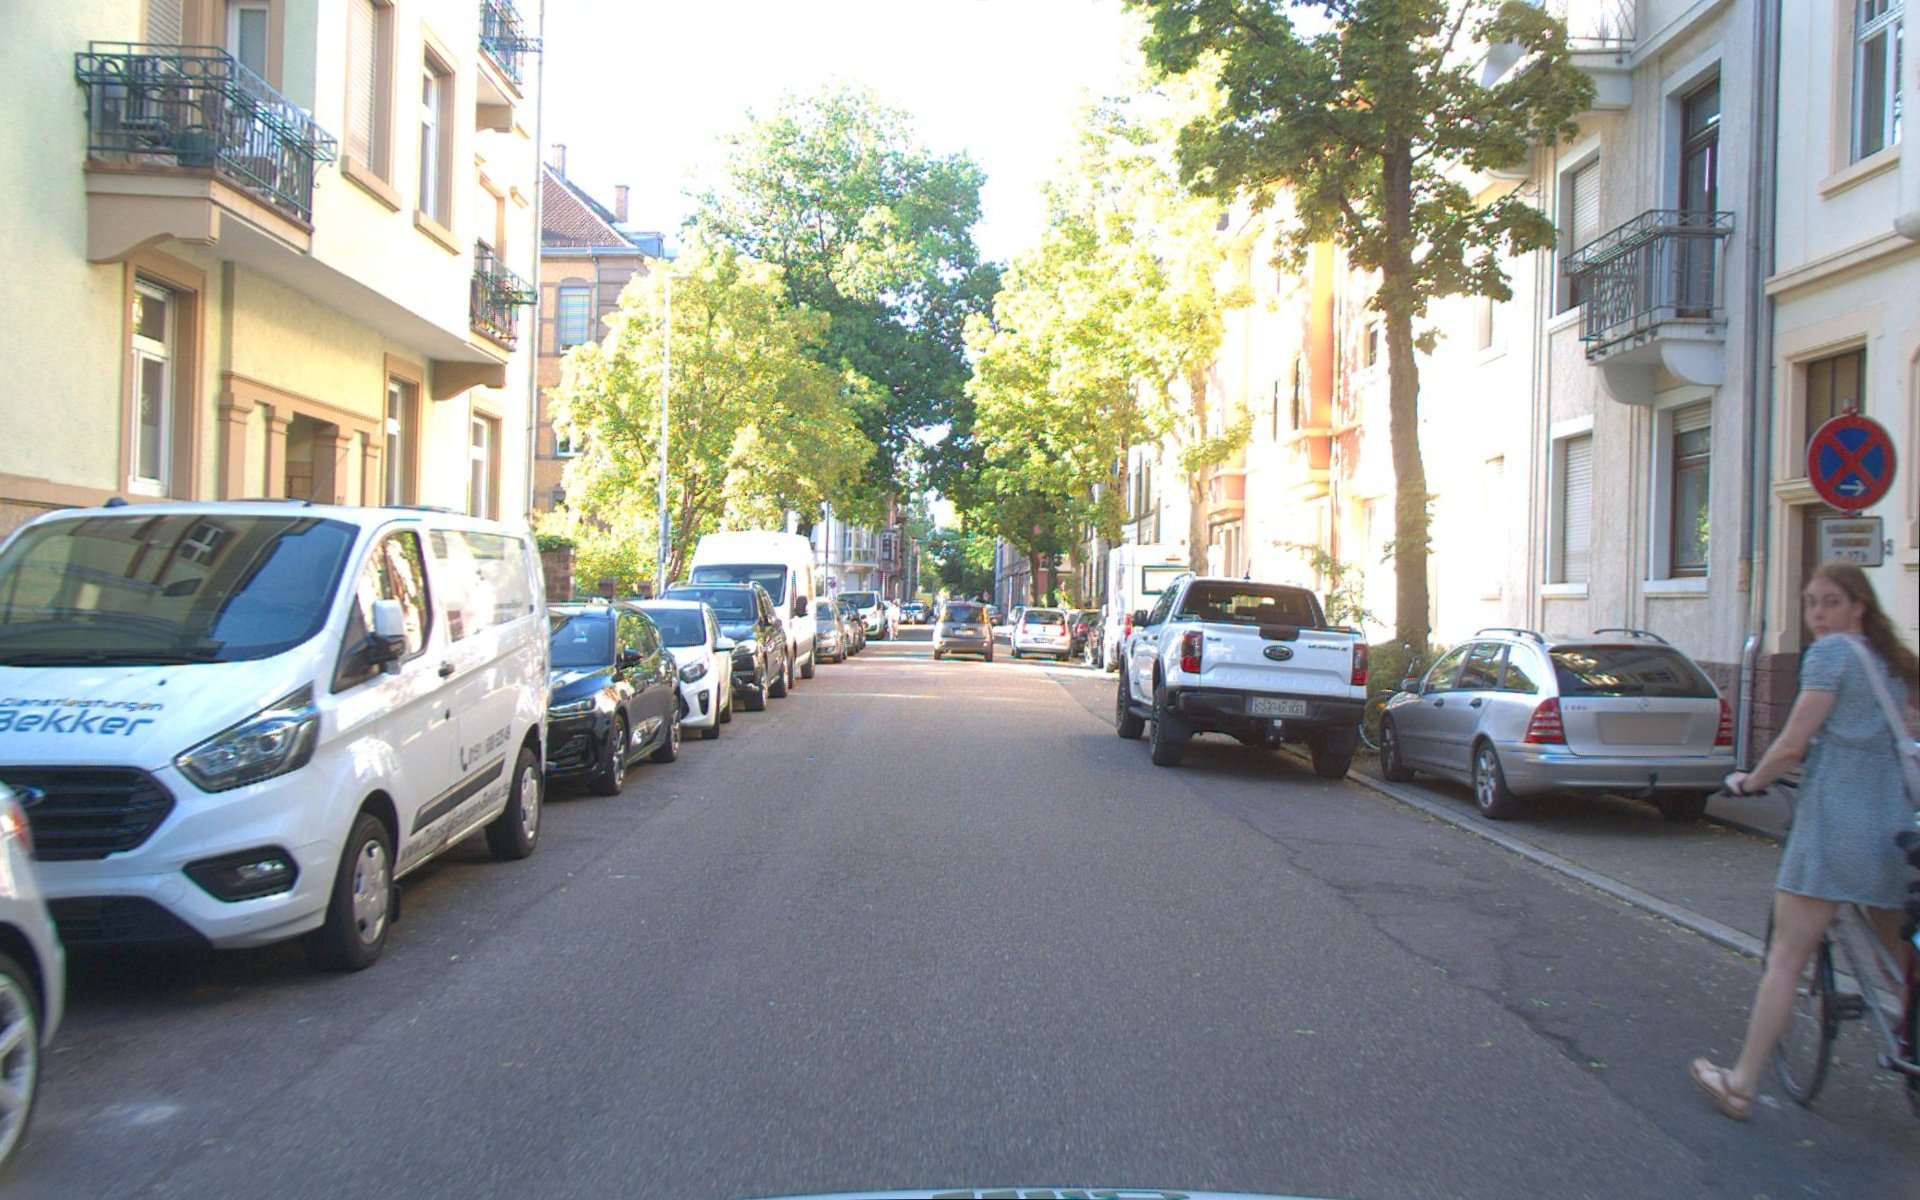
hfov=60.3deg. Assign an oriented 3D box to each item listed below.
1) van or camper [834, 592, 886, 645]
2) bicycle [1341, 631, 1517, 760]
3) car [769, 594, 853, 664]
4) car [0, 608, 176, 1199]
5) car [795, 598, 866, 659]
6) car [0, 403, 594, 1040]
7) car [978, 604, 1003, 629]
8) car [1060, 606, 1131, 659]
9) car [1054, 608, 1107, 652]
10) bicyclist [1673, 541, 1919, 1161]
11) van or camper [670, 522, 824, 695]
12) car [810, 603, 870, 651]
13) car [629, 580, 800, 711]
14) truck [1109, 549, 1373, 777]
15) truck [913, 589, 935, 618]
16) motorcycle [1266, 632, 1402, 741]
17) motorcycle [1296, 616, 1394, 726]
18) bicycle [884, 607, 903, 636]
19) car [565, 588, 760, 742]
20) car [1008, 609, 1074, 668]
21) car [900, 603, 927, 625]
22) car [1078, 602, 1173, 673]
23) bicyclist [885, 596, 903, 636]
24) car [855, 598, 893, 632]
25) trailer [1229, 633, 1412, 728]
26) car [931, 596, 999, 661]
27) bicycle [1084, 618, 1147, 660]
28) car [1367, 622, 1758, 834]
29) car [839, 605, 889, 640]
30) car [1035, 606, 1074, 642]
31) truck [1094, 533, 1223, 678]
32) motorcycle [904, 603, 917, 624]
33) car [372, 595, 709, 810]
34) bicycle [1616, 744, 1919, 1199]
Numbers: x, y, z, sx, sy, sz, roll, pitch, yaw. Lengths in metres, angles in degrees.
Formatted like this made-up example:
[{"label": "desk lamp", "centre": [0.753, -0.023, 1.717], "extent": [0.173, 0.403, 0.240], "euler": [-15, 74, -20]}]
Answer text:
[{"label": "van or camper", "centre": [-4.062, 0.740, 67.892], "extent": [1.883, 2.014, 5.460], "euler": [-2, 0, -2]}, {"label": "bicycle", "centre": [5.077, 1.030, 17.958], "extent": [1.723, 1.328, 0.586], "euler": [2, 0, -2]}, {"label": "car", "centre": [-3.625, 0.686, 40.864], "extent": [1.744, 1.618, 4.468], "euler": [-1, 0, -1]}, {"label": "car", "centre": [-3.194, 0.777, 2.738], "extent": [1.796, 1.488, 4.361], "euler": [-1, 0, -2]}, {"label": "car", "centre": [-3.638, 0.772, 47.068], "extent": [1.642, 1.600, 4.151], "euler": [-1, 0, 0]}, {"label": "car", "centre": [-3.449, 0.436, 8.374], "extent": [2.206, 2.206, 5.241], "euler": [-1, 0, -3]}, {"label": "car", "centre": [2.164, 1.148, 117.965], "extent": [1.629, 1.698, 3.757], "euler": [3, 0, 0]}, {"label": "car", "centre": [4.278, 1.005, 52.663], "extent": [1.750, 1.540, 4.458], "euler": [2, 0, -1]}, {"label": "car", "centre": [4.258, 1.045, 58.885], "extent": [1.564, 1.514, 3.747], "euler": [1, 0, 0]}, {"label": "bicyclist", "centre": [2.829, 0.719, 5.121], "extent": [0.700, 1.718, 0.981], "euler": [4, -1, -1]}, {"label": "van or camper", "centre": [-3.734, 0.146, 30.019], "extent": [2.085, 2.817, 5.850], "euler": [-1, 0, -1]}, {"label": "car", "centre": [-3.821, 0.835, 53.364], "extent": [1.679, 1.419, 4.778], "euler": [-2, 0, -2]}, {"label": "car", "centre": [-3.469, 0.596, 24.253], "extent": [1.837, 1.715, 4.968], "euler": [0, 0, -1]}, {"label": "truck", "centre": [2.777, 0.568, 17.665], "extent": [1.791, 1.983, 5.540], "euler": [2, 0, 0]}, {"label": "truck", "centre": [-3.758, 0.356, 172.975], "extent": [2.028, 2.977, 5.068], "euler": [-2, 0, 0]}, {"label": "motorcycle", "centre": [4.595, 1.045, 20.267], "extent": [1.748, 1.262, 0.692], "euler": [2, 0, -40]}, {"label": "motorcycle", "centre": [5.454, 0.976, 23.572], "extent": [0.844, 1.441, 2.234], "euler": [2, 0, 0]}, {"label": "bicycle", "centre": [-2.567, 0.833, 63.980], "extent": [0.651, 1.096, 1.685], "euler": [2, 0, 0]}, {"label": "car", "centre": [-3.326, 0.699, 19.183], "extent": [1.602, 1.579, 4.087], "euler": [0, -1, -1]}, {"label": "car", "centre": [2.374, 1.115, 49.315], "extent": [1.645, 1.571, 3.799], "euler": [3, 0, -1]}, {"label": "car", "centre": [-3.385, 1.008, 120.361], "extent": [1.760, 1.457, 3.925], "euler": [-2, 0, 0]}, {"label": "car", "centre": [4.364, 0.953, 44.263], "extent": [1.847, 1.746, 4.942], "euler": [1, 0, -2]}, {"label": "bicyclist", "centre": [-2.564, 0.604, 64.061], "extent": [0.638, 1.535, 0.624], "euler": [2, 0, 0]}, {"label": "car", "centre": [-4.345, 0.750, 83.711], "extent": [1.788, 1.581, 4.131], "euler": [-2, 0, -3]}, {"label": "trailer", "centre": [4.697, 1.049, 21.616], "extent": [2.045, 1.131, 1.111], "euler": [2, 0, -15]}, {"label": "car", "centre": [0.092, 0.745, 43.957], "extent": [1.600, 1.577, 3.262], "euler": [3, -1, -2]}, {"label": "bicycle", "centre": [4.526, 1.125, 48.124], "extent": [1.774, 1.187, 0.569], "euler": [-1, 0, -2]}, {"label": "car", "centre": [4.851, 0.944, 14.025], "extent": [1.646, 1.447, 4.429], "euler": [0, 0, -1]}, {"label": "car", "centre": [-4.247, 0.976, 73.405], "extent": [1.960, 1.483, 4.605], "euler": [-1, 0, 0]}, {"label": "car", "centre": [4.187, 1.047, 73.717], "extent": [1.489, 1.537, 3.543], "euler": [1, 0, 0]}, {"label": "truck", "centre": [4.422, 0.115, 37.857], "extent": [2.031, 3.020, 6.107], "euler": [-1, 0, -1]}, {"label": "motorcycle", "centre": [-3.494, 0.976, 117.063], "extent": [0.684, 1.486, 1.747], "euler": [0, 0, -10]}, {"label": "car", "centre": [-3.409, 0.746, 14.425], "extent": [1.730, 1.548, 4.824], "euler": [0, 0, 0]}, {"label": "bicycle", "centre": [2.808, 1.083, 5.160], "extent": [0.691, 1.063, 1.857], "euler": [5, -1, -1]}]
